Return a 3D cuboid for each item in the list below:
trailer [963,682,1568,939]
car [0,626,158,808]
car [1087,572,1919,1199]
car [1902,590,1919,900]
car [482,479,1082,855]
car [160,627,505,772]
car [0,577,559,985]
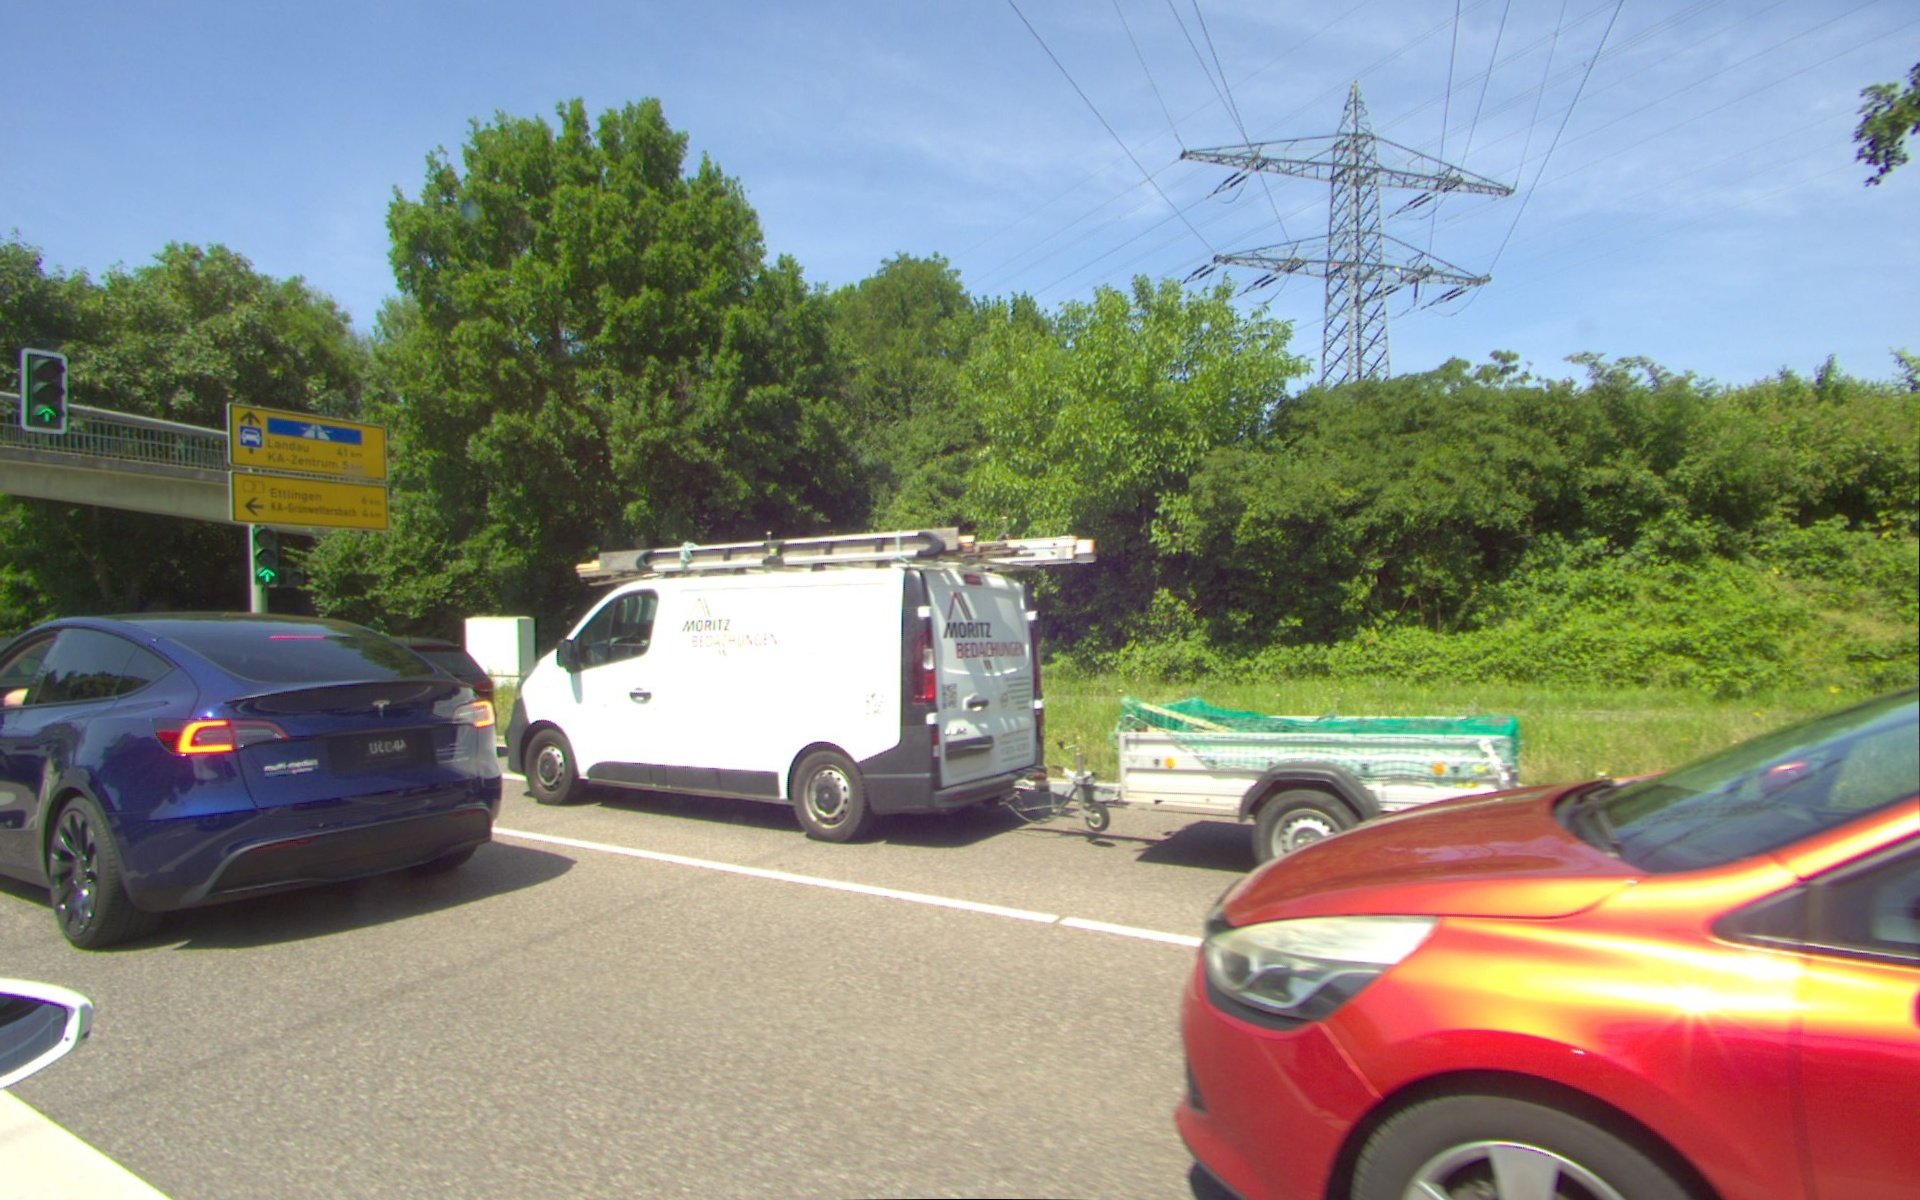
[{"bbox_3d":[1.850,1.103,6.222,3.275,1.019,1.703,-1,-2,31],"label":"trailer"},{"bbox_3d":[-9.476,1.002,9.374,3.882,1.496,1.897,-1,-2,32],"label":"car"},{"bbox_3d":[2.431,0.711,1.900,4.005,1.480,1.741,-1,-2,31],"label":"car"},{"bbox_3d":[6.444,0.719,3.635,4.105,1.616,1.761,-1,-1,32],"label":"car"},{"bbox_3d":[-1.650,0.496,8.481,5.001,2.379,1.930,-1,-2,31],"label":"car"},{"bbox_3d":[-7.768,1.093,12.313,4.317,1.496,1.897,-1,-2,32],"label":"car"},{"bbox_3d":[-4.688,0.805,6.072,4.454,1.665,1.898,-1,-2,31],"label":"car"}]
